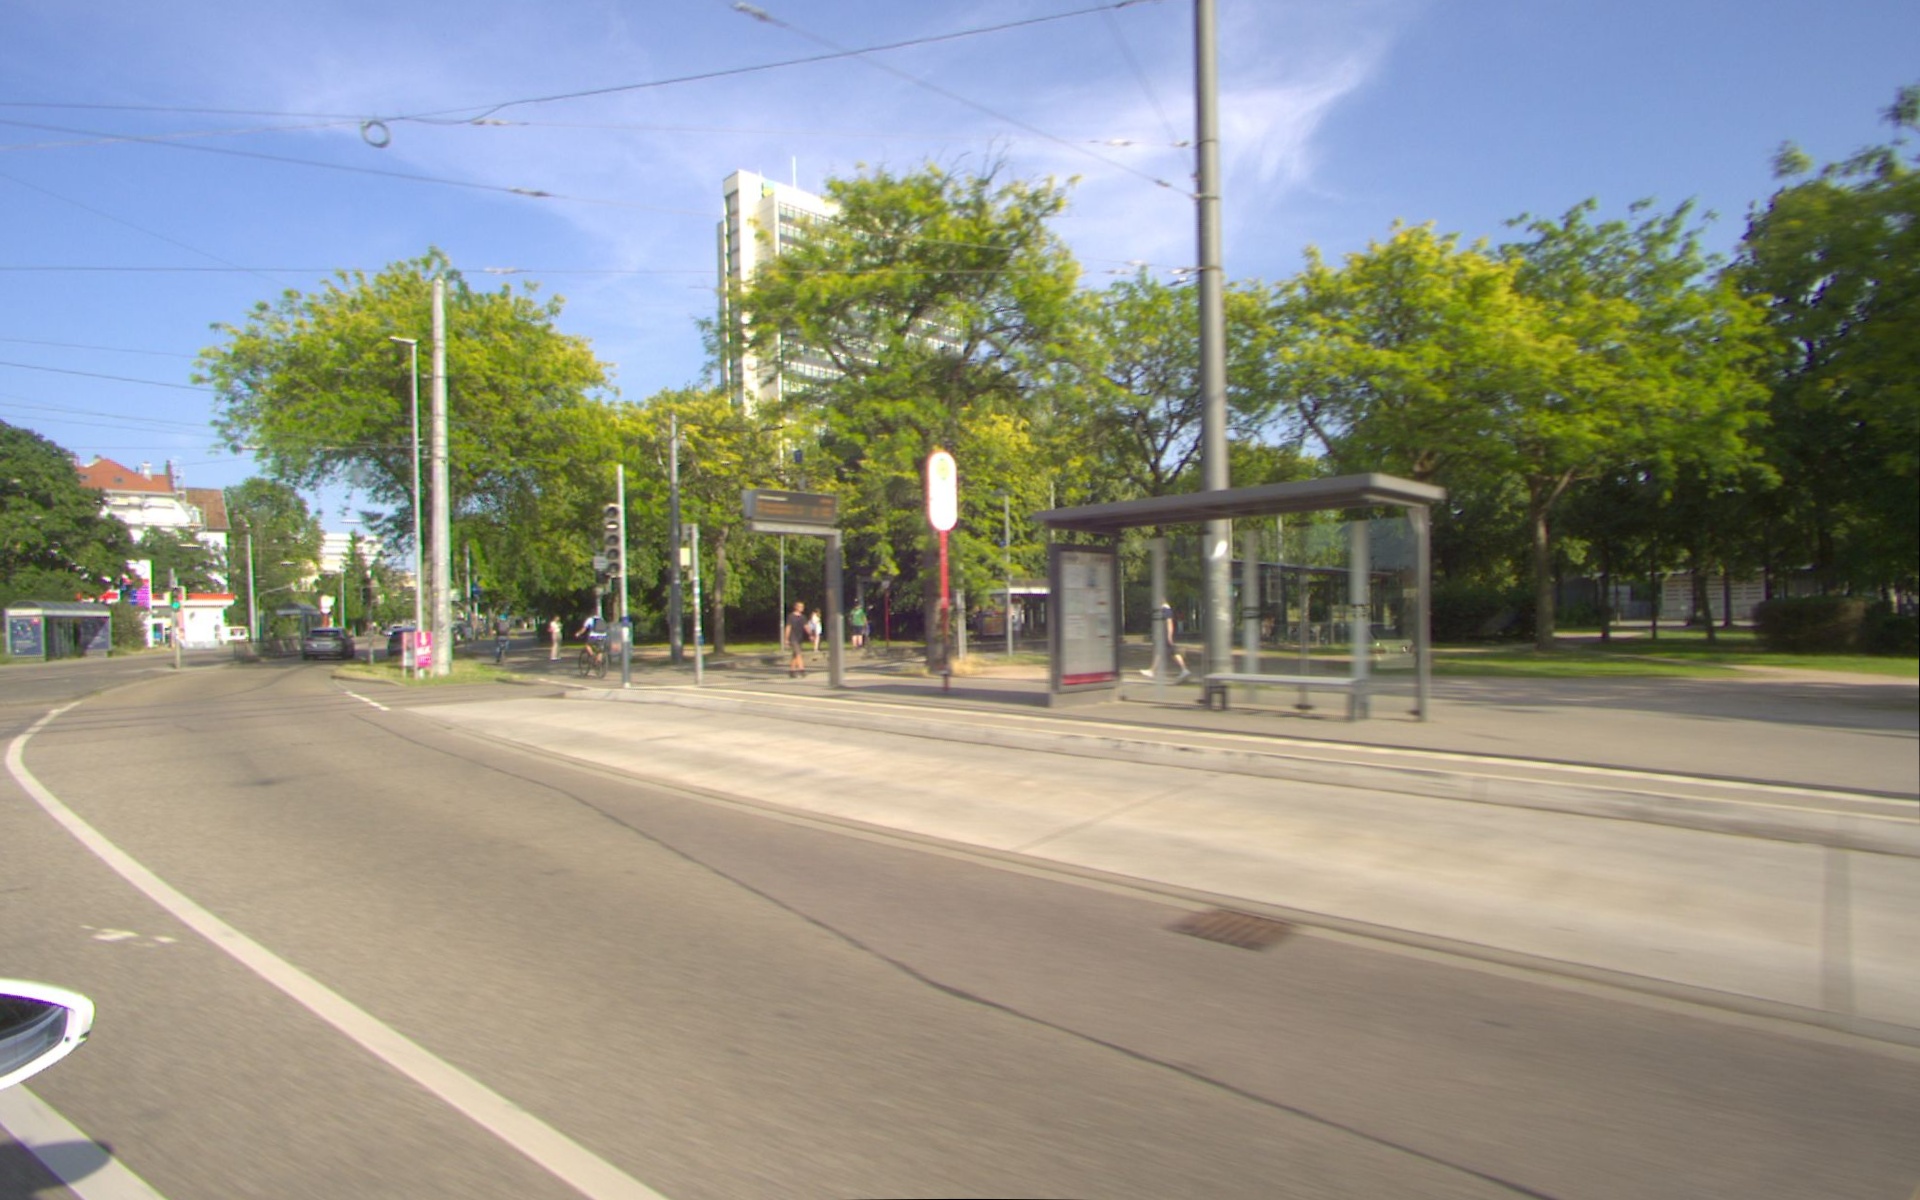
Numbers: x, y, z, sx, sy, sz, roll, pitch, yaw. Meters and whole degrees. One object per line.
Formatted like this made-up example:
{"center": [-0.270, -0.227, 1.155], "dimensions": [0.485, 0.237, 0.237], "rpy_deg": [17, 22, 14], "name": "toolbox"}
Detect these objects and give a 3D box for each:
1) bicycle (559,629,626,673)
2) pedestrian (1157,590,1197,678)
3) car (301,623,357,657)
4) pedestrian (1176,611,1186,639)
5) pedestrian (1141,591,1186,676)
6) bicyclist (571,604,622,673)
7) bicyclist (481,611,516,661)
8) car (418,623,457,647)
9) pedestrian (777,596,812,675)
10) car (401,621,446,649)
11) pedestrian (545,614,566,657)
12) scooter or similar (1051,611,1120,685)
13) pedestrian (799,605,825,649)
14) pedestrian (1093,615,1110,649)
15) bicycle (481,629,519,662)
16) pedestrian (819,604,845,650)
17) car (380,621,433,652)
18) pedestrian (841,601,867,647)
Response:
{"center": [-9.899, 1.376, 26.945], "dimensions": [1.913, 1.102, 0.638], "rpy_deg": [-2, 1, 34], "name": "bicycle"}
{"center": [4.805, 0.763, 22.184], "dimensions": [0.863, 1.921, 0.673], "rpy_deg": [0, -2, 13], "name": "pedestrian"}
{"center": [-32.072, 2.047, 50.963], "dimensions": [1.812, 1.620, 3.804], "rpy_deg": [1, -2, -24], "name": "car"}
{"center": [13.398, 1.489, 60.700], "dimensions": [0.479, 1.687, 0.412], "rpy_deg": [-1, 0, 38], "name": "pedestrian"}
{"center": [4.363, 0.721, 21.452], "dimensions": [0.865, 1.799, 0.672], "rpy_deg": [0, -2, 20], "name": "pedestrian"}
{"center": [-9.726, 1.033, 26.803], "dimensions": [1.125, 1.769, 0.647], "rpy_deg": [-2, 2, 34], "name": "bicyclist"}
{"center": [-16.843, 1.318, 36.537], "dimensions": [1.128, 1.769, 0.715], "rpy_deg": [-2, 2, 44], "name": "bicyclist"}
{"center": [-35.385, 2.342, 67.858], "dimensions": [1.828, 1.535, 3.989], "rpy_deg": [-2, 0, -21], "name": "car"}
{"center": [-3.859, 0.827, 23.345], "dimensions": [0.573, 1.799, 0.582], "rpy_deg": [2, -3, -42], "name": "pedestrian"}
{"center": [-31.430, 2.021, 58.765], "dimensions": [1.828, 1.535, 3.989], "rpy_deg": [-2, 0, -21], "name": "car"}
{"center": [-16.280, 1.429, 40.260], "dimensions": [0.634, 1.687, 0.686], "rpy_deg": [-1, 0, -34], "name": "pedestrian"}
{"center": [2.181, 0.824, 17.370], "dimensions": [1.117, 1.248, 0.351], "rpy_deg": [-1, 0, 26], "name": "scooter or similar"}
{"center": [-5.532, 1.013, 37.397], "dimensions": [0.682, 1.631, 0.638], "rpy_deg": [-1, 0, 40], "name": "pedestrian"}
{"center": [7.565, 1.718, 53.452], "dimensions": [0.665, 1.822, 0.606], "rpy_deg": [2, -3, -37], "name": "pedestrian"}
{"center": [-16.701, 1.645, 36.364], "dimensions": [1.715, 1.102, 0.636], "rpy_deg": [-2, 1, 44], "name": "bicycle"}
{"center": [-4.733, 1.005, 37.077], "dimensions": [0.682, 1.687, 0.638], "rpy_deg": [-1, 0, 40], "name": "pedestrian"}
{"center": [-29.692, 1.913, 53.807], "dimensions": [1.828, 1.535, 3.990], "rpy_deg": [-2, 0, -20], "name": "car"}
{"center": [-3.887, 0.880, 36.786], "dimensions": [0.682, 1.687, 0.638], "rpy_deg": [-1, 0, 40], "name": "pedestrian"}
